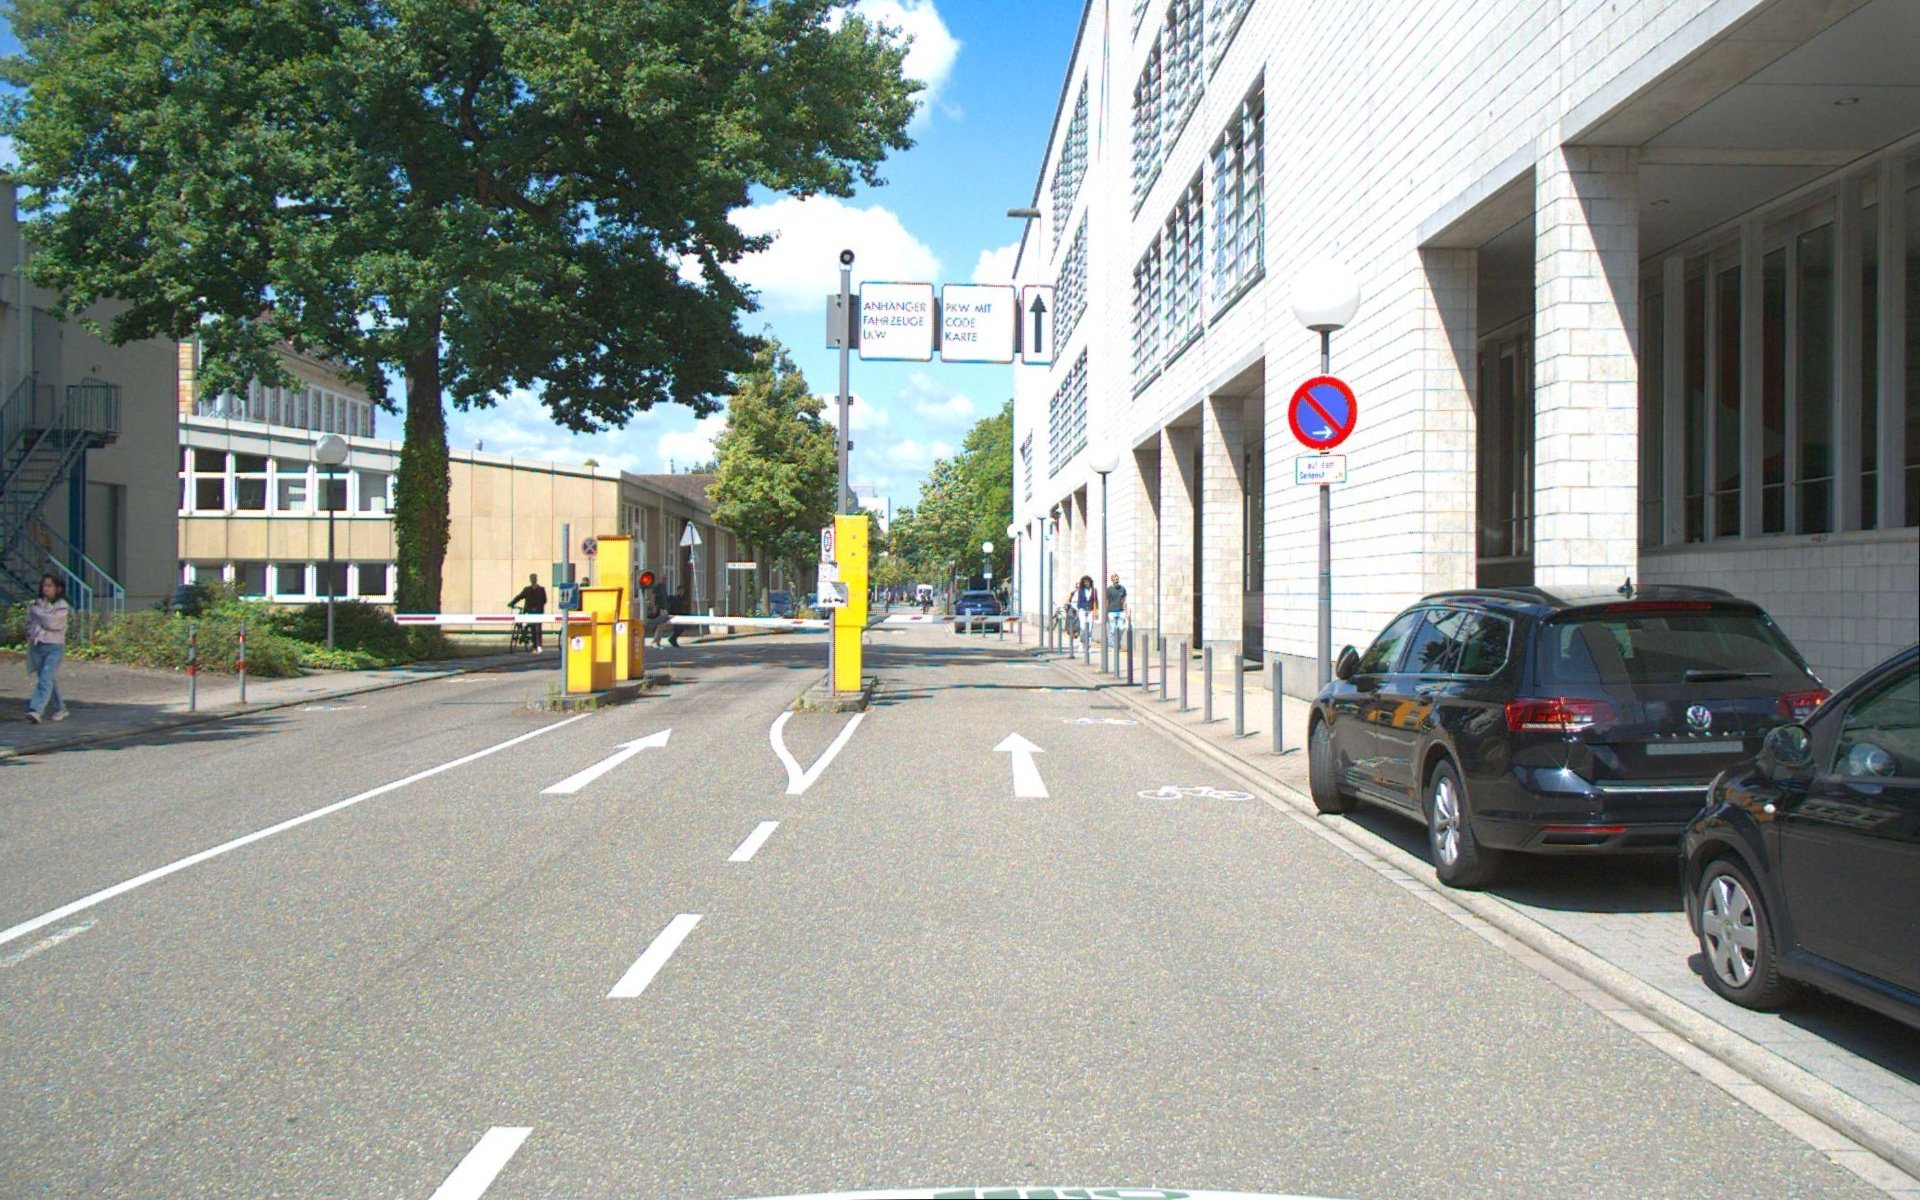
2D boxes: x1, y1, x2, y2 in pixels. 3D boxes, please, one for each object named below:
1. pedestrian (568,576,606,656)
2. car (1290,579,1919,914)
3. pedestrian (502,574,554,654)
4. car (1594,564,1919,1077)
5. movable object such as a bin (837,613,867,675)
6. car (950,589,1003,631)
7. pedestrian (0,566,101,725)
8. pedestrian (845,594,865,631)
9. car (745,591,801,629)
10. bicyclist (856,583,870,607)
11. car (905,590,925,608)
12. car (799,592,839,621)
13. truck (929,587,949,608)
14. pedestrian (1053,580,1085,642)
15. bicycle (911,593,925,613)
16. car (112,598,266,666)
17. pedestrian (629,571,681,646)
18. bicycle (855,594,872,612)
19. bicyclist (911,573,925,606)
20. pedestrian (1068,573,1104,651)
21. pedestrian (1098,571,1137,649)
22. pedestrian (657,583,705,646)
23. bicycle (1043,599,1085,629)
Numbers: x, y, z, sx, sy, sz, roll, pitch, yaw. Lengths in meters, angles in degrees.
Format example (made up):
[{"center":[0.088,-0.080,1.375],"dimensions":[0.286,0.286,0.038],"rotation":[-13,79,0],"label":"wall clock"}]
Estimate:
[{"center":[-8.769,0.364,38.942],"dimensions":[0.691,1.841,1.001],"rotation":[0,1,-3],"label":"pedestrian"},{"center":[3.336,0.639,9.652],"dimensions":[1.828,1.490,4.519],"rotation":[0,0,-1],"label":"car"},{"center":[-10.150,0.326,38.873],"dimensions":[1.035,1.847,0.806],"rotation":[0,1,-3],"label":"pedestrian"},{"center":[3.629,0.653,5.223],"dimensions":[1.582,1.523,4.004],"rotation":[0,0,-3],"label":"car"},{"center":[-1.621,0.655,24.934],"dimensions":[0.407,0.921,0.353],"rotation":[0,0,3],"label":"movable object such as a bin"},{"center":[0.619,0.348,63.970],"dimensions":[1.953,1.573,4.211],"rotation":[0,0,-1],"label":"car"},{"center":[-9.746,0.468,17.674],"dimensions":[0.699,1.655,0.883],"rotation":[0,0,-3],"label":"pedestrian"},{"center":[-4.777,0.571,75.301],"dimensions":[0.876,1.661,0.887],"rotation":[1,-1,-3],"label":"pedestrian"},{"center":[-7.976,0.401,70.882],"dimensions":[1.953,1.573,4.211],"rotation":[0,0,-1],"label":"car"},{"center":[-7.659,-0.385,130.560],"dimensions":[0.970,1.917,1.033],"rotation":[0,-2,-13],"label":"bicyclist"},{"center":[-4.691,-0.055,173.808],"dimensions":[1.952,1.751,4.000],"rotation":[0,-2,1],"label":"car"},{"center":[-7.911,0.340,92.926],"dimensions":[1.953,1.573,4.211],"rotation":[0,0,-1],"label":"car"},{"center":[-2.150,-0.243,168.830],"dimensions":[1.954,2.049,3.997],"rotation":[0,-2,-3],"label":"truck"},{"center":[2.968,0.286,44.920],"dimensions":[0.726,1.661,0.887],"rotation":[-2,1,-3],"label":"pedestrian"},{"center":[-2.881,0.206,113.384],"dimensions":[0.967,1.339,2.962],"rotation":[0,-2,-2],"label":"bicycle"},{"center":[-18.268,0.713,39.415],"dimensions":[1.792,1.492,4.297],"rotation":[0,0,-2],"label":"car"},{"center":[-8.016,0.225,43.482],"dimensions":[0.870,1.959,1.002],"rotation":[0,-1,35],"label":"pedestrian"},{"center":[-7.654,0.266,130.581],"dimensions":[0.969,1.339,2.956],"rotation":[0,-2,-11],"label":"bicycle"},{"center":[-2.895,-0.713,113.205],"dimensions":[0.967,2.169,1.036],"rotation":[0,-2,-2],"label":"bicyclist"},{"center":[3.011,0.281,39.603],"dimensions":[0.681,1.811,1.085],"rotation":[-2,1,-3],"label":"pedestrian"},{"center":[3.770,0.234,39.704],"dimensions":[0.751,1.811,0.910],"rotation":[-2,1,-3],"label":"pedestrian"},{"center":[-7.481,0.388,44.349],"dimensions":[0.870,1.661,0.893],"rotation":[0,-1,35],"label":"pedestrian"},{"center":[3.845,0.498,60.981],"dimensions":[1.511,1.085,0.648],"rotation":[-1,0,6],"label":"bicycle"}]
